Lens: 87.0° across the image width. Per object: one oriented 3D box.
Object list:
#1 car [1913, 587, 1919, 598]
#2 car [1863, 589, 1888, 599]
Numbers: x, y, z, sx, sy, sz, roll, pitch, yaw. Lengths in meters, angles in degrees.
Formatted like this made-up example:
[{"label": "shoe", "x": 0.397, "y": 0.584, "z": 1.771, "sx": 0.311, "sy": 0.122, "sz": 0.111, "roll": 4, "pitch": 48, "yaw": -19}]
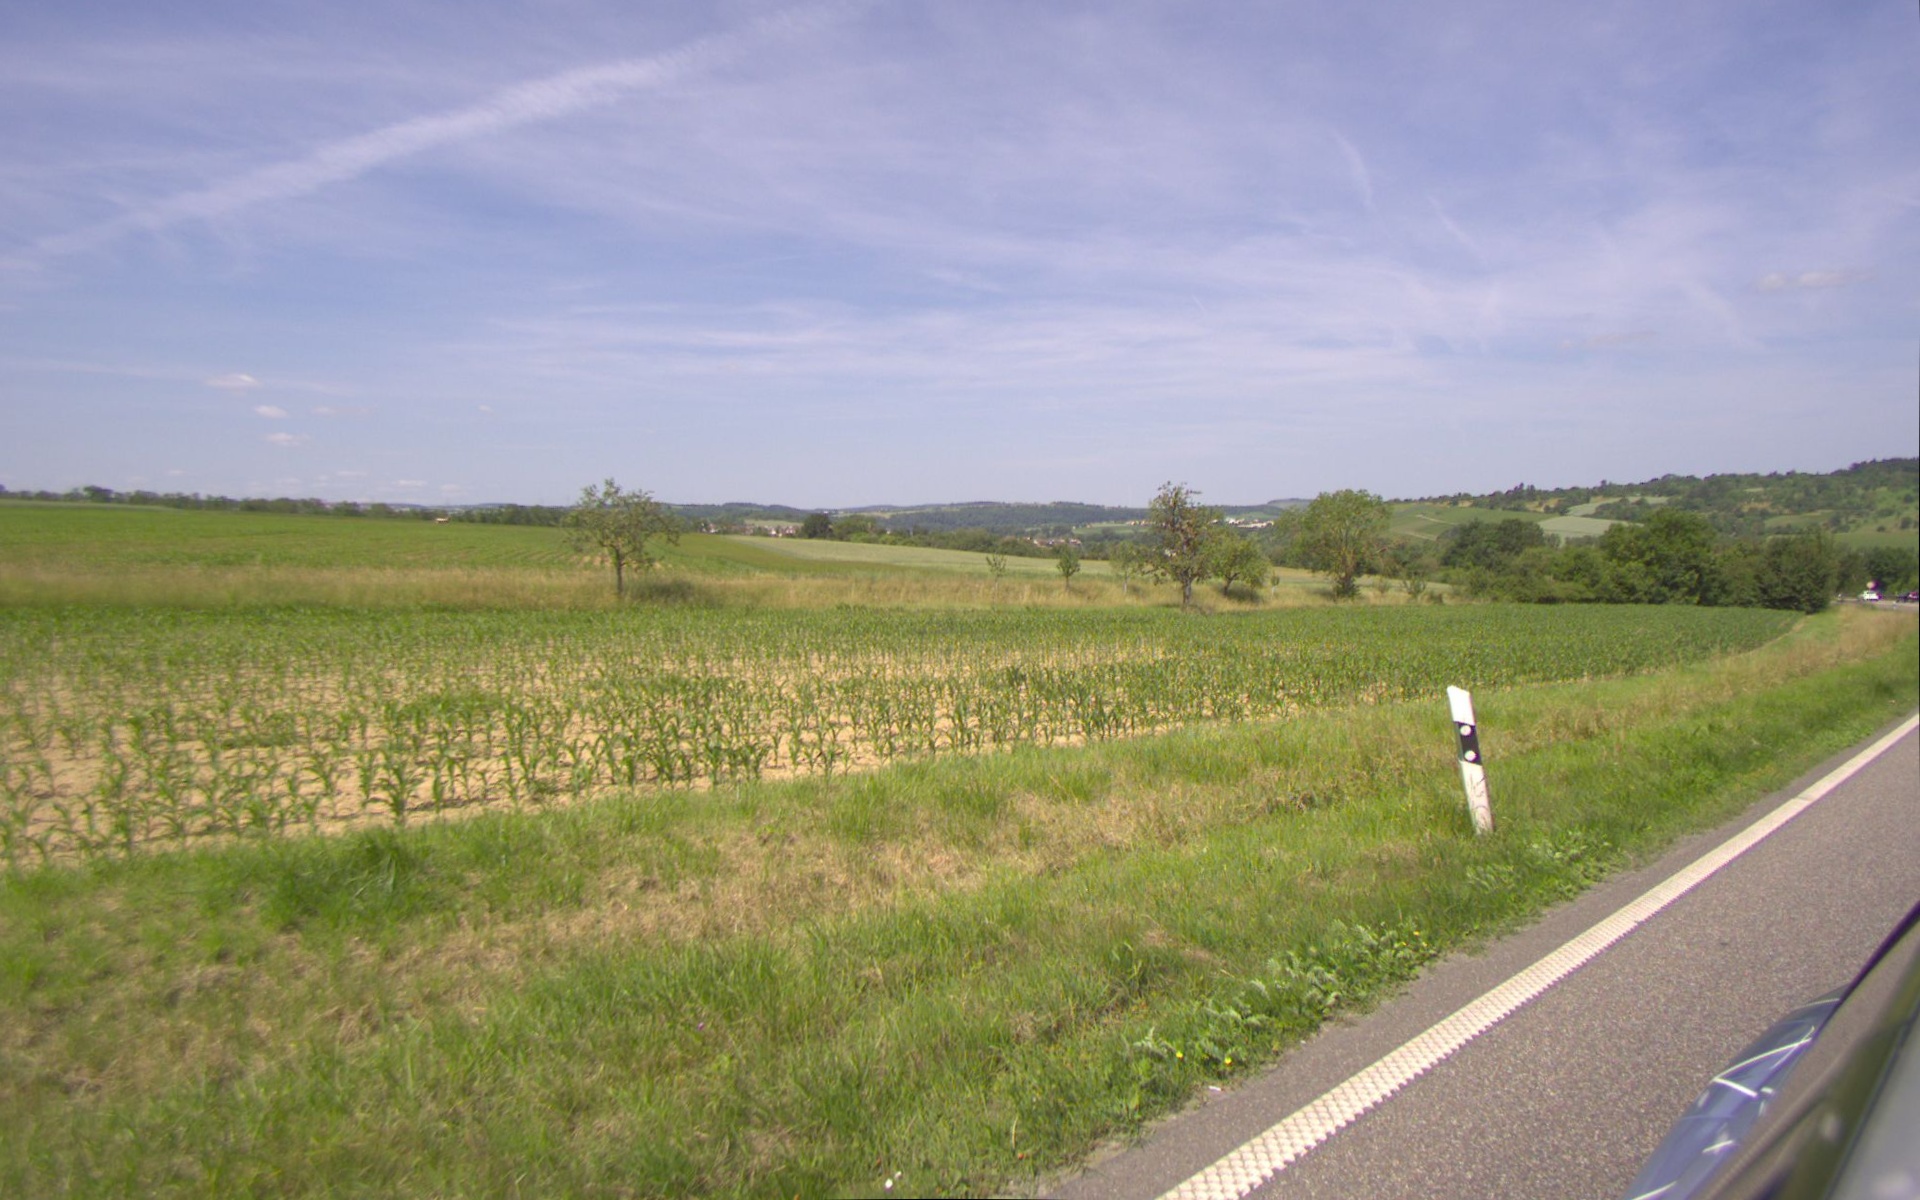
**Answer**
[{"label": "car", "x": 128.836, "y": -0.950, "z": 134.779, "sx": 1.827, "sy": 1.473, "sz": 4.280, "roll": 2, "pitch": 2, "yaw": 30}, {"label": "car", "x": 135.934, "y": -0.927, "z": 150.298, "sx": 1.645, "sy": 1.475, "sz": 3.703, "roll": 1, "pitch": 1, "yaw": 24}]
